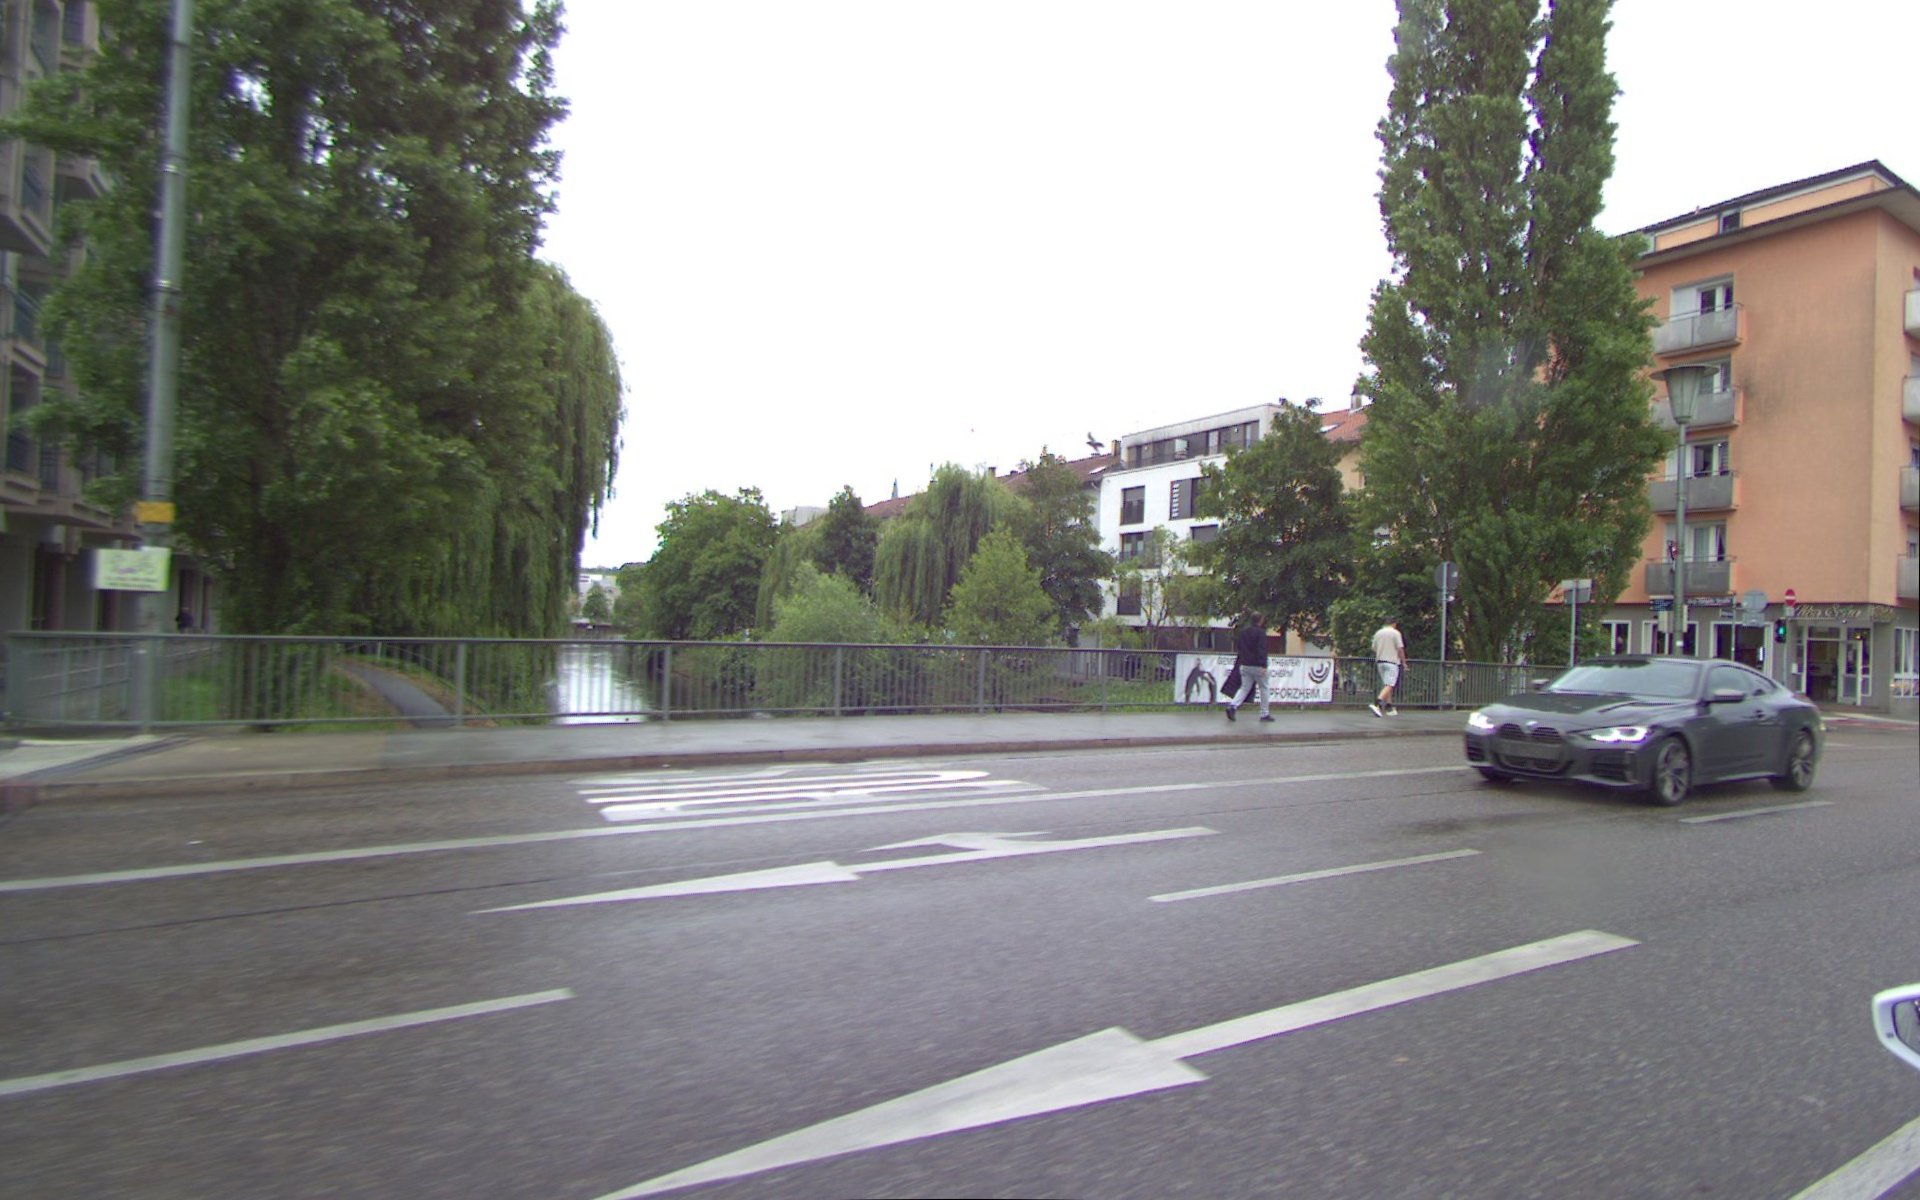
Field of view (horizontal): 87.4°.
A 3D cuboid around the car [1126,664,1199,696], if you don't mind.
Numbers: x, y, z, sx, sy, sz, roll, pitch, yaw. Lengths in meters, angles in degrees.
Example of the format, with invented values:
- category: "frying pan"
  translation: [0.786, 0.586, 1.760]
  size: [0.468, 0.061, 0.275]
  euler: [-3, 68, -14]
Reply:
- category: "car"
  translation: [11.422, 4.510, 56.923]
  size: [1.876, 1.406, 3.970]
  euler: [4, -1, -29]

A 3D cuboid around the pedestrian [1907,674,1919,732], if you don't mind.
- category: "pedestrian"
  translation: [29.658, 3.171, 30.918]
  size: [0.640, 1.749, 0.528]
  euler: [3, -2, -26]

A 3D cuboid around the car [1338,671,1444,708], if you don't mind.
- category: "car"
  translation: [18.949, 3.923, 44.295]
  size: [1.876, 1.405, 3.970]
  euler: [4, -3, -29]

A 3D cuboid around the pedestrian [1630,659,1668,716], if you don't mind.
- category: "pedestrian"
  translation: [20.997, 2.660, 30.641]
  size: [0.609, 1.684, 0.800]
  euler: [3, -4, 5]

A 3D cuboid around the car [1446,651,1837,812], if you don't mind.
- category: "car"
  translation: [7.332, 1.323, 10.701]
  size: [4.357, 1.342, 1.782]
  euler: [4, -2, -31]

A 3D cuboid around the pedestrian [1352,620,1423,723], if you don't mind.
- category: "pedestrian"
  translation: [7.892, 1.317, 18.560]
  size: [0.802, 1.817, 0.794]
  euler: [4, -1, -28]

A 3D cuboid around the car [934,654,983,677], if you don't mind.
- category: "car"
  translation: [-0.160, 4.607, 70.933]
  size: [1.702, 1.406, 3.970]
  euler: [4, -2, -29]

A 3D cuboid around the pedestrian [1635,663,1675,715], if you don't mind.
- category: "pedestrian"
  translation: [20.622, 2.641, 29.806]
  size: [0.788, 1.463, 0.650]
  euler: [5, -4, -23]

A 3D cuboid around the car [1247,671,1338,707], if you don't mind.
- category: "car"
  translation: [15.990, 4.265, 48.477]
  size: [1.876, 1.406, 3.970]
  euler: [4, -2, -29]

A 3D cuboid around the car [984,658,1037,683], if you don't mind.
- category: "car"
  translation: [3.507, 4.949, 70.364]
  size: [1.876, 1.406, 3.970]
  euler: [4, -1, -29]

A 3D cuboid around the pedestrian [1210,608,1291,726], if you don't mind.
- category: "pedestrian"
  translation: [4.651, 1.064, 16.095]
  size: [0.946, 1.817, 0.695]
  euler: [4, -1, -27]
